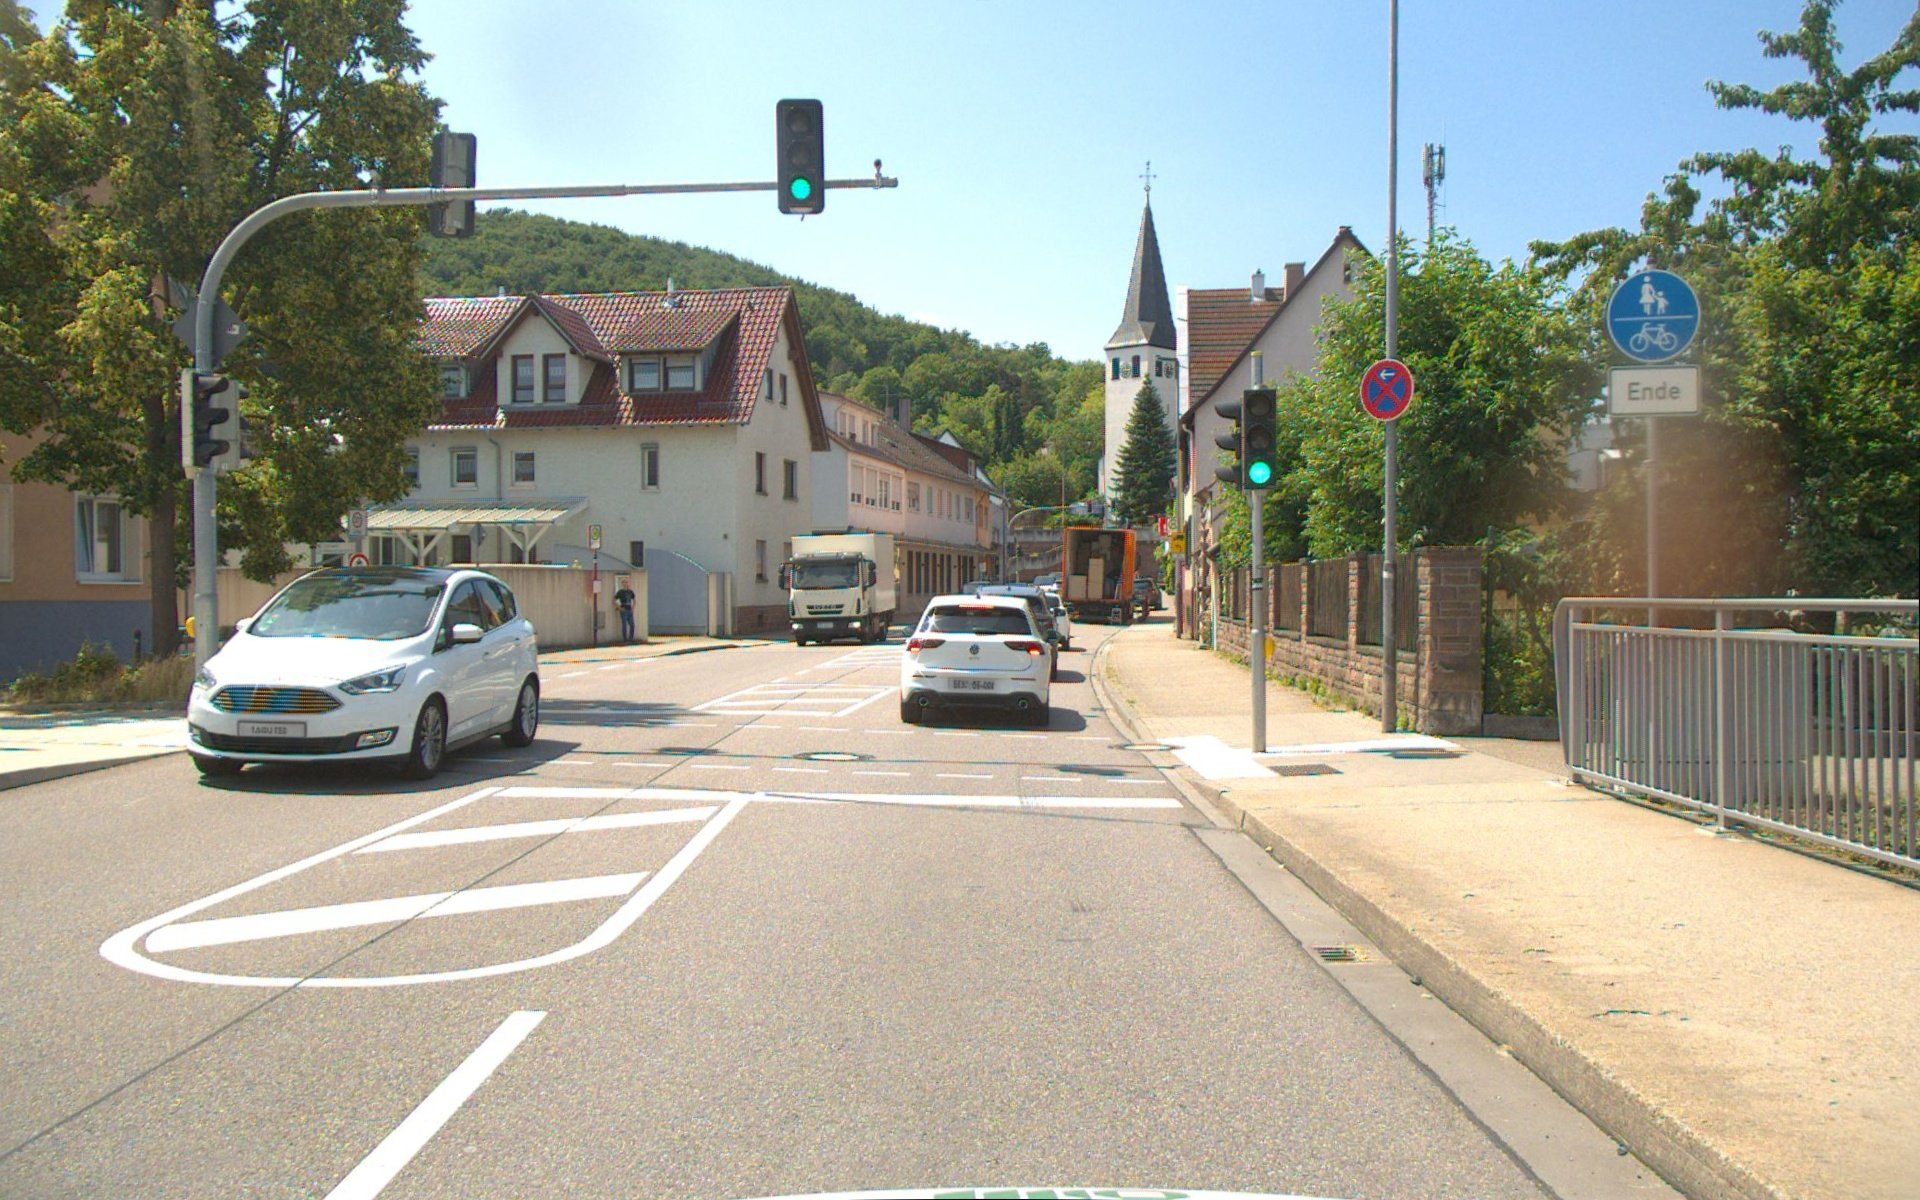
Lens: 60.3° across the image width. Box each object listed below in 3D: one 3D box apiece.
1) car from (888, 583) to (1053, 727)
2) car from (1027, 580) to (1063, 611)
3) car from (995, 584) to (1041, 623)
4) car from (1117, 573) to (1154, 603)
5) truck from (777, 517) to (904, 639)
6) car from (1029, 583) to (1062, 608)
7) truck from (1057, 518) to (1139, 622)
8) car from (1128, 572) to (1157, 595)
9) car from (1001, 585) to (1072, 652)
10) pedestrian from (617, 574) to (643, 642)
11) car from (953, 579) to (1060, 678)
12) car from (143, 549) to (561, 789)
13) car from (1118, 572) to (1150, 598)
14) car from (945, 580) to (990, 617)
[{"bbox_3d":[0.227,0.612,20.180,1.777,1.545,4.002,1,0,4],"label":"car"},{"bbox_3d":[4.431,-0.240,86.002,1.777,1.545,4.002,-1,0,4],"label":"car"},{"bbox_3d":[2.423,0.152,68.379,1.777,1.545,4.002,-1,0,4],"label":"car"},{"bbox_3d":[9.337,-0.627,88.343,1.777,1.545,4.002,-1,0,4],"label":"car"},{"bbox_3d":[-3.385,-0.585,48.313,2.448,3.292,6.045,-1,0,7],"label":"truck"},{"bbox_3d":[5.588,-0.268,107.243,1.757,1.534,4.137,-1,0,8],"label":"car"},{"bbox_3d":[6.217,-1.250,73.527,3.295,4.243,9.525,-1,0,6],"label":"truck"},{"bbox_3d":[12.719,-1.144,115.507,1.777,1.545,4.002,-1,0,4],"label":"car"},{"bbox_3d":[2.073,0.470,44.000,1.777,1.657,4.002,-1,0,4],"label":"car"},{"bbox_3d":[-8.874,0.211,44.510,0.425,1.795,0.557,-1,0,22],"label":"pedestrian"},{"bbox_3d":[0.909,0.500,30.265,1.777,1.657,4.002,-1,0,4],"label":"car"},{"bbox_3d":[-4.813,0.492,13.768,1.777,1.678,4.002,1,0,4],"label":"car"},{"bbox_3d":[10.887,-0.928,103.455,1.777,1.545,4.002,-1,0,4],"label":"car"},{"bbox_3d":[0.394,-0.076,76.816,1.702,1.680,3.671,0,0,6],"label":"car"}]
